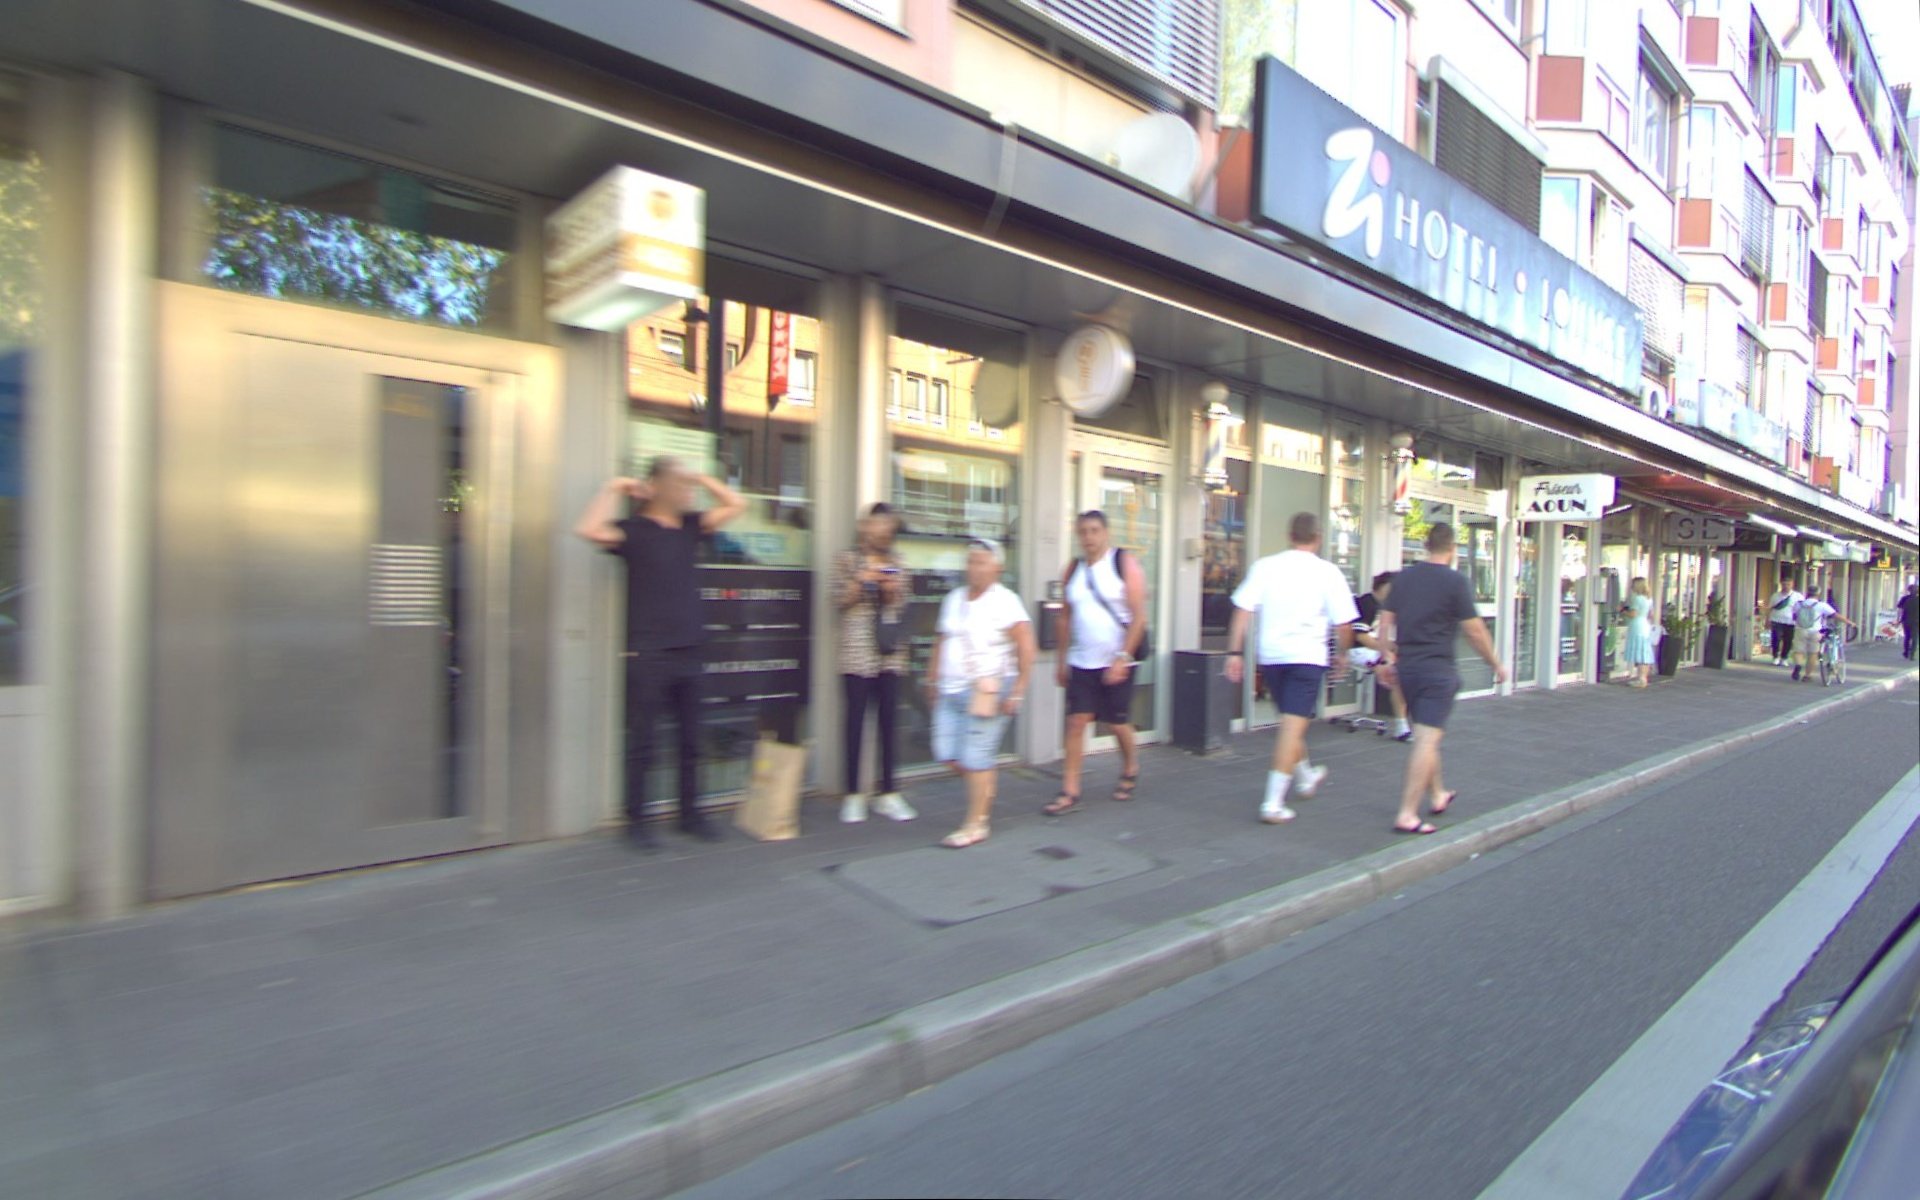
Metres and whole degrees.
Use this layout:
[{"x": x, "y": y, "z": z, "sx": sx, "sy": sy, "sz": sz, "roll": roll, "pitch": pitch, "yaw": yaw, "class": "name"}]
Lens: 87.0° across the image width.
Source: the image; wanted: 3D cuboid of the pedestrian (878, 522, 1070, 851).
[{"x": 0.066, "y": 0.382, "z": 5.082, "sx": 0.643, "sy": 1.501, "sz": 0.637, "roll": 0, "pitch": 4, "yaw": -42, "class": "pedestrian"}]

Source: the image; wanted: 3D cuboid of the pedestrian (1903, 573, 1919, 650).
[{"x": 24.028, "y": 0.294, "z": 25.133, "sx": 0.974, "sy": 1.883, "sz": 0.676, "roll": 0, "pitch": 3, "yaw": -40, "class": "pedestrian"}]

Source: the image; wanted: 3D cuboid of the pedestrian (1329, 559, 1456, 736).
[{"x": 3.914, "y": 0.395, "z": 9.174, "sx": 0.694, "sy": 1.490, "sz": 0.740, "roll": 0, "pitch": 4, "yaw": -40, "class": "pedestrian"}]

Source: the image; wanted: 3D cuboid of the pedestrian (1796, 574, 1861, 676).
[{"x": 14.743, "y": 0.404, "z": 17.185, "sx": 0.693, "sy": 1.650, "sz": 0.664, "roll": 0, "pitch": 3, "yaw": -42, "class": "pedestrian"}]

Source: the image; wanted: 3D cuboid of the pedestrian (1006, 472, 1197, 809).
[{"x": 0.807, "y": 0.206, "z": 5.793, "sx": 0.800, "sy": 1.749, "sz": 0.745, "roll": 0, "pitch": 0, "yaw": -41, "class": "pedestrian"}]

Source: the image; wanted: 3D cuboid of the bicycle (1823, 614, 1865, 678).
[{"x": 14.873, "y": 0.747, "z": 17.022, "sx": 1.730, "sy": 1.002, "sz": 0.303, "roll": 0, "pitch": 2, "yaw": -43, "class": "bicycle"}]

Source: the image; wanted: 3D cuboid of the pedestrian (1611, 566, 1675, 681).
[{"x": 9.955, "y": 0.327, "z": 14.757, "sx": 0.544, "sy": 1.609, "sz": 0.601, "roll": 0, "pitch": 2, "yaw": -41, "class": "pedestrian"}]

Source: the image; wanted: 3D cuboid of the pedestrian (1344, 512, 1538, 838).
[{"x": 2.823, "y": 0.384, "z": 5.943, "sx": 0.796, "sy": 1.749, "sz": 0.668, "roll": 0, "pitch": 4, "yaw": -42, "class": "pedestrian"}]

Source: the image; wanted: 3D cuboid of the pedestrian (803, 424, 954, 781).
[{"x": -0.450, "y": -0.001, "z": 5.482, "sx": 0.492, "sy": 1.791, "sz": 0.630, "roll": 0, "pitch": 2, "yaw": -41, "class": "pedestrian"}]

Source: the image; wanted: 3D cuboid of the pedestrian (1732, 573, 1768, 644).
[{"x": 18.544, "y": 0.192, "z": 23.748, "sx": 0.512, "sy": 1.653, "sz": 0.518, "roll": 1, "pitch": 1, "yaw": -36, "class": "pedestrian"}]

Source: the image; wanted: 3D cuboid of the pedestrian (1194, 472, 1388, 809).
[{"x": 1.964, "y": 0.200, "z": 6.029, "sx": 0.750, "sy": 1.842, "sz": 0.707, "roll": 0, "pitch": 4, "yaw": -41, "class": "pedestrian"}]

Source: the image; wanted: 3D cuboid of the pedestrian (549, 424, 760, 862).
[{"x": -1.426, "y": 0.176, "z": 4.742, "sx": 0.797, "sy": 1.872, "sz": 0.452, "roll": 0, "pitch": 2, "yaw": -41, "class": "pedestrian"}]

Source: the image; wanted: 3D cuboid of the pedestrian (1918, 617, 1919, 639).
[{"x": 29.671, "y": 0.437, "z": 30.755, "sx": 0.776, "sy": 1.539, "sz": 0.666, "roll": 0, "pitch": 4, "yaw": -43, "class": "pedestrian"}]
